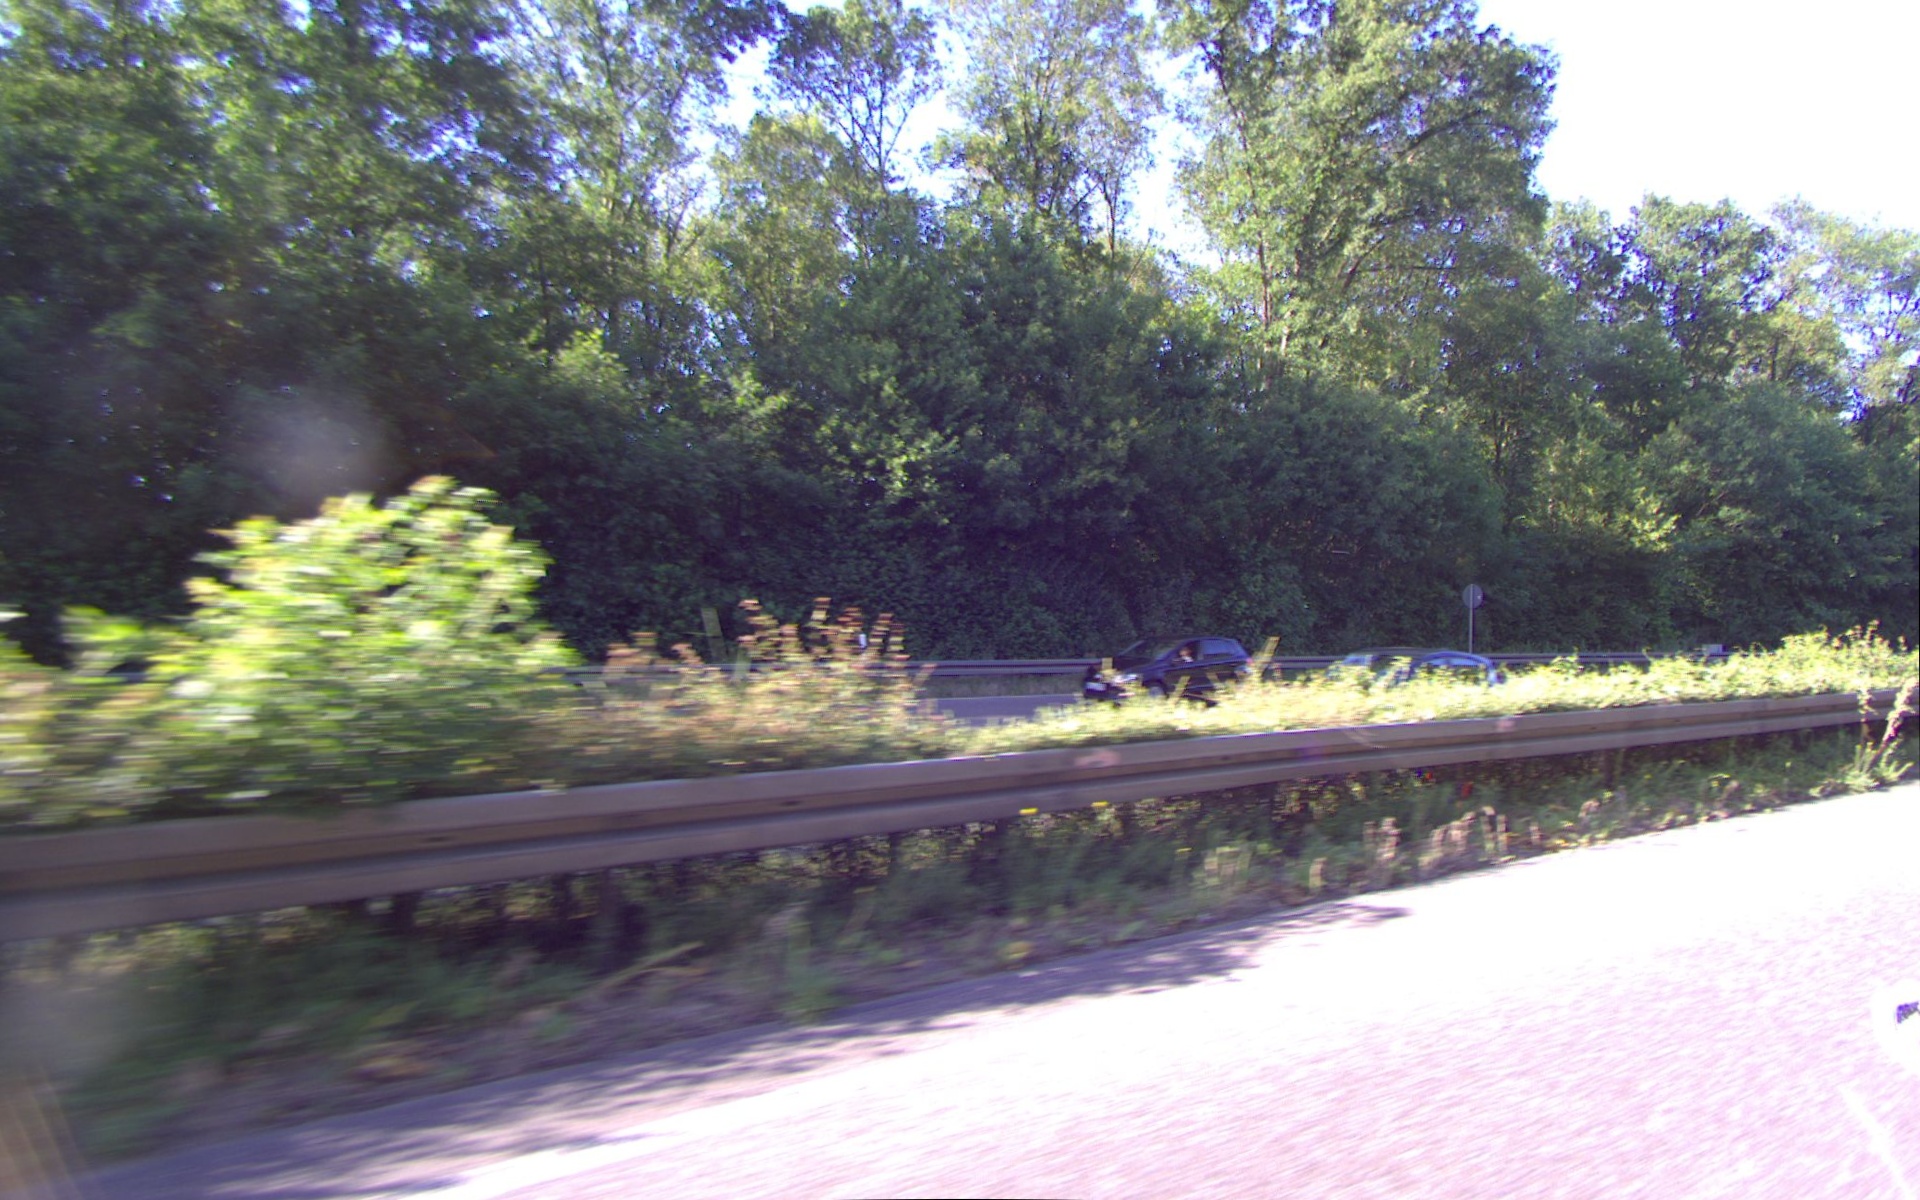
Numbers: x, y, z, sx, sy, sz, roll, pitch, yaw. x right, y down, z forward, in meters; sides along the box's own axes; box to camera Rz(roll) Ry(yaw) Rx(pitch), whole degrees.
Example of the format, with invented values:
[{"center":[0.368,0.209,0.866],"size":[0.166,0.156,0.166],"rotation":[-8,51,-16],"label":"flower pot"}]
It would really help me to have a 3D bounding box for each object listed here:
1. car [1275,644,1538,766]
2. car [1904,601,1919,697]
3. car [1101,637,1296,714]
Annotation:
[{"center":[6.424,1.399,14.371],"size":[3.735,1.432,1.640],"rotation":[1,0,-32],"label":"car"},{"center":[28.711,1.366,27.697],"size":[5.709,2.609,2.068],"rotation":[1,0,-27],"label":"car"},{"center":[4.991,1.499,20.887],"size":[3.955,1.401,1.640],"rotation":[1,0,-32],"label":"car"}]
